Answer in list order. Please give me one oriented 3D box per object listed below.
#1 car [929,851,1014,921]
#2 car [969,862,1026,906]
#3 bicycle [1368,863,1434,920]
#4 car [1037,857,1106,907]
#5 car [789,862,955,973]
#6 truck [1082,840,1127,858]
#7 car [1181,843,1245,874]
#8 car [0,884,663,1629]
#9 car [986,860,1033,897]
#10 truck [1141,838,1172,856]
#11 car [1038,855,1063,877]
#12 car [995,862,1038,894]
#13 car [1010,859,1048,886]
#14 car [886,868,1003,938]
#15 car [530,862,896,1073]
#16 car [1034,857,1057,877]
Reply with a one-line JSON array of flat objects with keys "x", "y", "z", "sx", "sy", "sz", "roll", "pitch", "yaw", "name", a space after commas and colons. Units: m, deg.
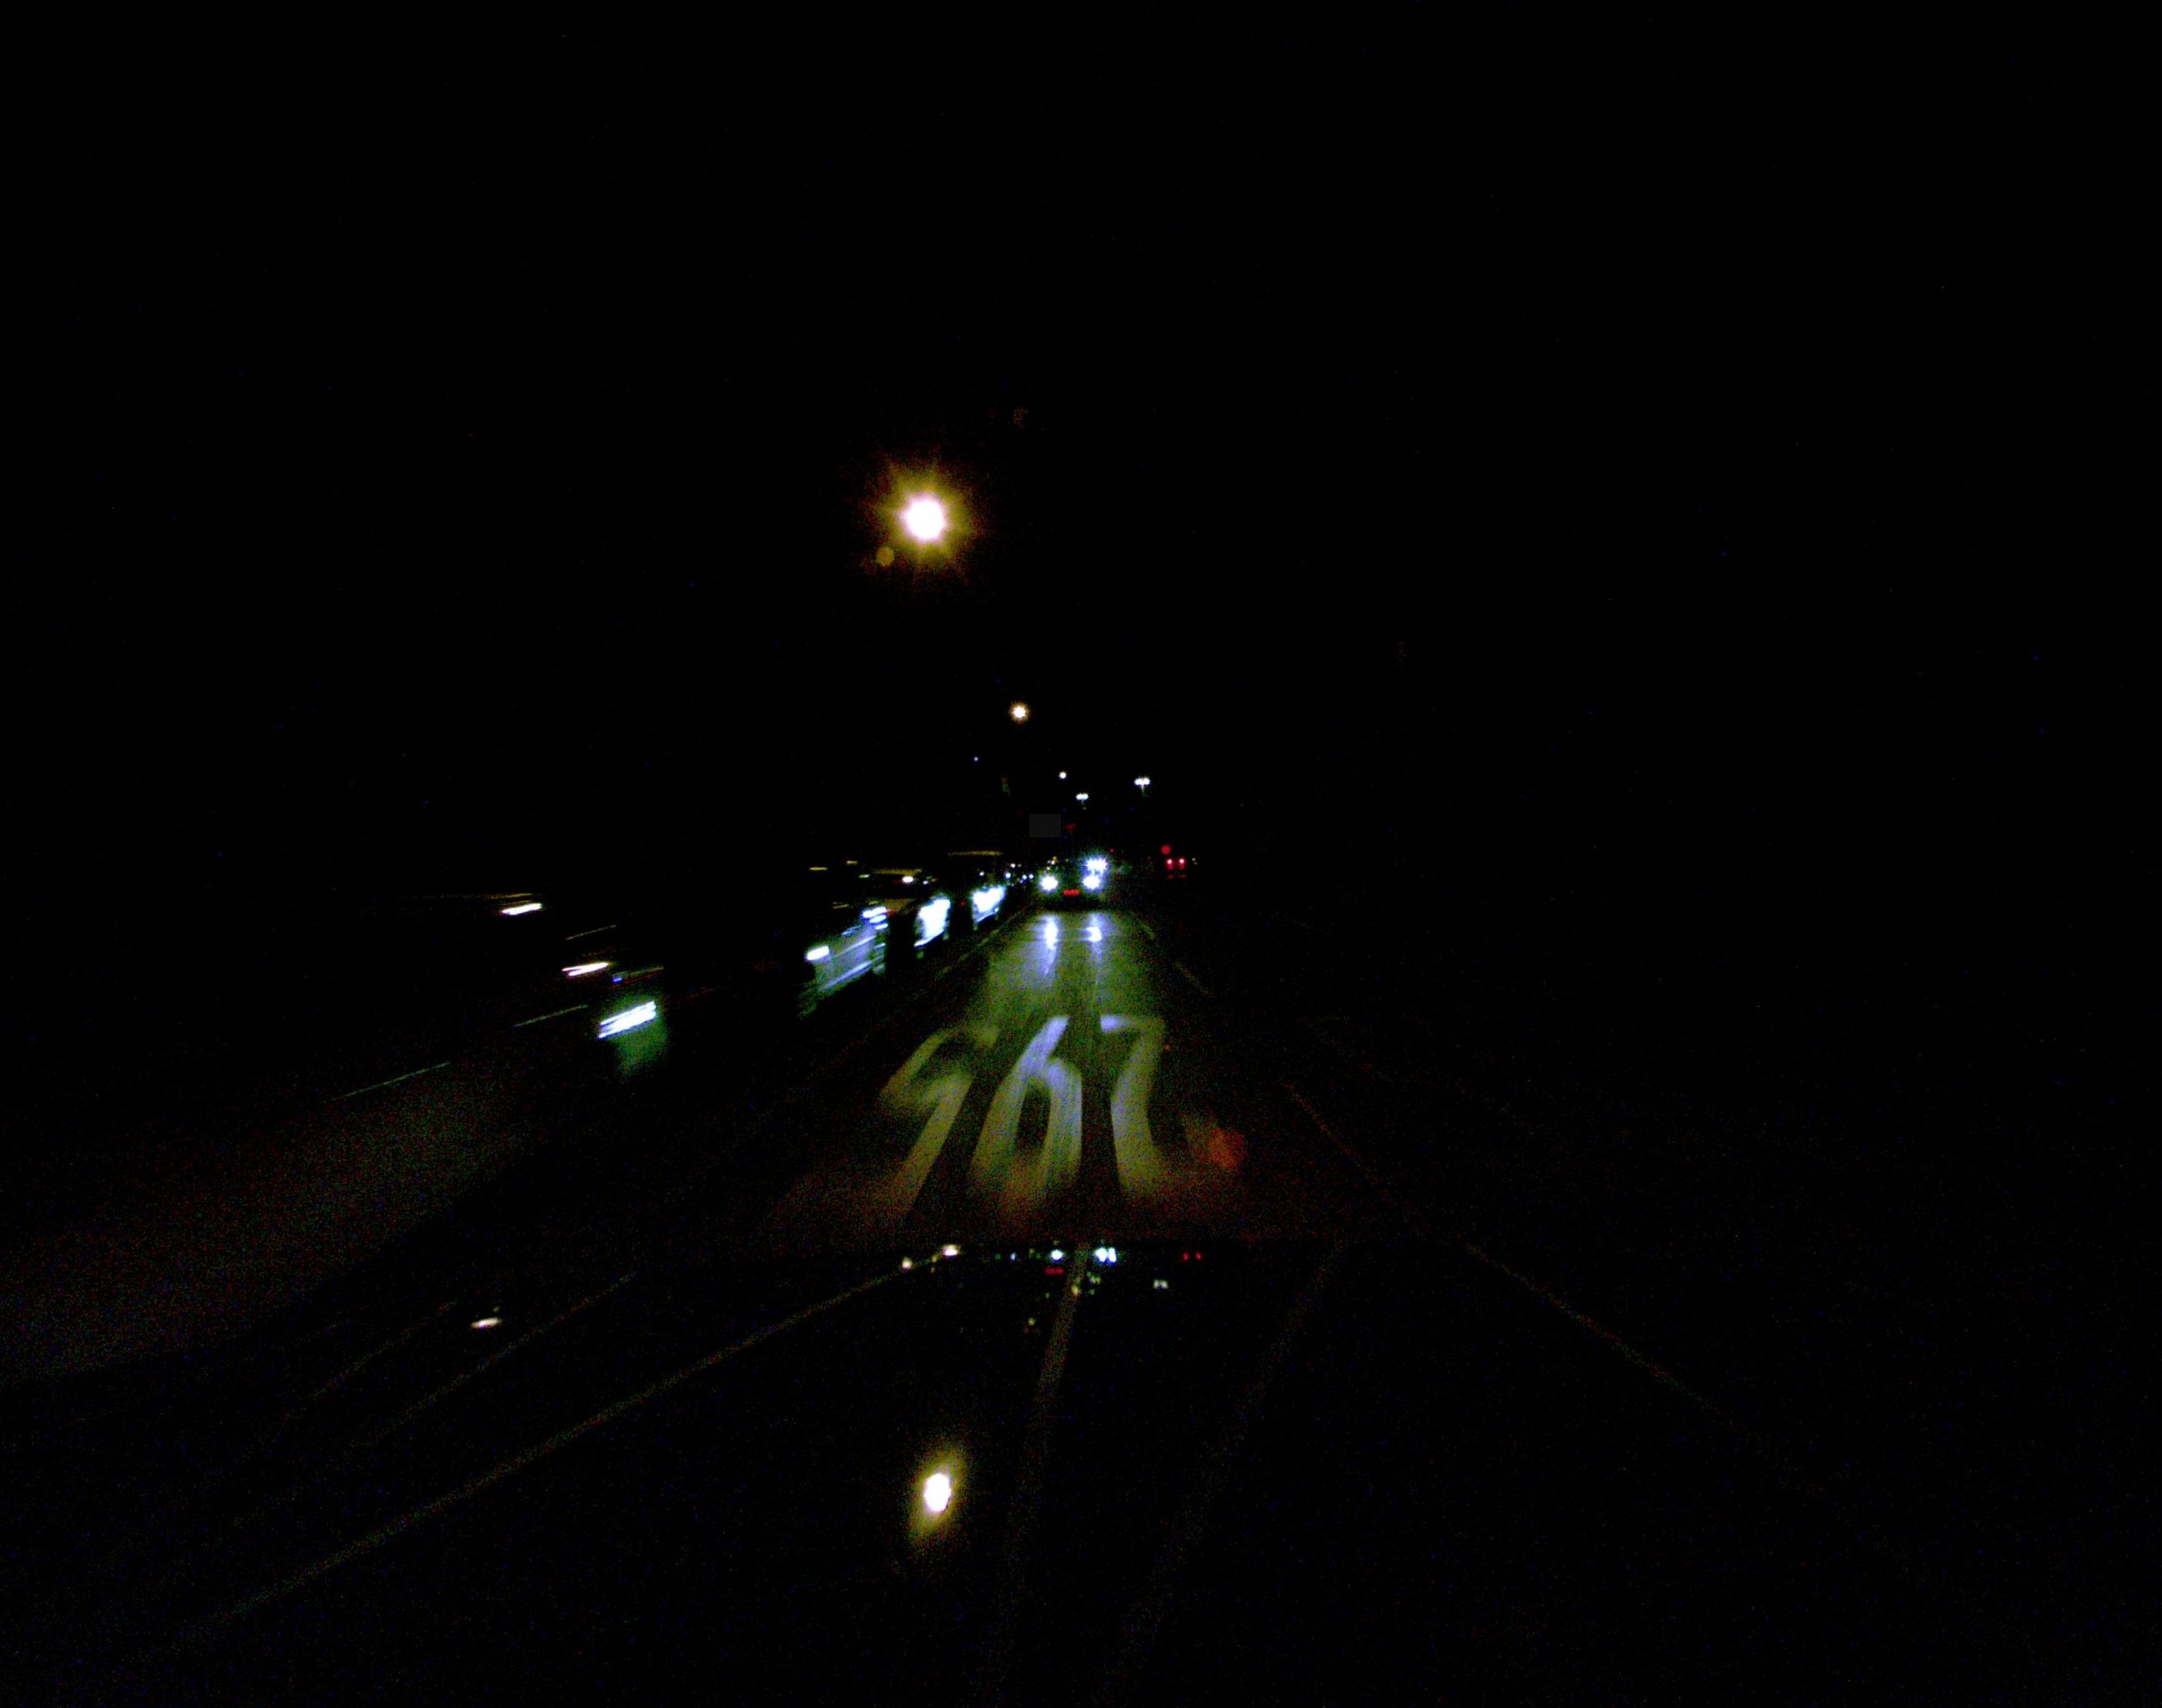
[{"x": -3.161, "y": 0.884, "z": 22.817, "sx": 1.805, "sy": 1.864, "sz": 4.774, "roll": 1, "pitch": 0, "yaw": 1, "name": "car"}, {"x": -3.106, "y": 1.086, "z": 28.964, "sx": 1.599, "sy": 1.458, "sz": 3.891, "roll": -2, "pitch": 0, "yaw": 1, "name": "car"}, {"x": 6.485, "y": 0.740, "z": 15.471, "sx": 0.621, "sy": 1.045, "sz": 1.722, "roll": -2, "pitch": 1, "yaw": 1, "name": "bicycle"}, {"x": -0.248, "y": 0.913, "z": 26.751, "sx": 1.998, "sy": 1.606, "sz": 4.002, "roll": -1, "pitch": 0, "yaw": 5, "name": "car"}, {"x": -3.422, "y": 0.946, "z": 13.357, "sx": 1.828, "sy": 1.579, "sz": 4.627, "roll": 0, "pitch": 0, "yaw": -3, "name": "car"}, {"x": 5.029, "y": -1.079, "z": 162.697, "sx": 9.340, "sy": 3.701, "sz": 2.002, "roll": -1, "pitch": 1, "yaw": 16, "name": "truck"}, {"x": 8.739, "y": 0.278, "z": 50.235, "sx": 3.993, "sy": 1.878, "sz": 1.911, "roll": -2, "pitch": 1, "yaw": 13, "name": "car"}, {"x": -3.349, "y": 0.984, "z": 2.287, "sx": 1.779, "sy": 1.535, "sz": 4.545, "roll": -2, "pitch": 0, "yaw": -2, "name": "car"}, {"x": -3.115, "y": 1.054, "z": 33.632, "sx": 1.599, "sy": 1.458, "sz": 3.719, "roll": -2, "pitch": 0, "yaw": 1, "name": "car"}, {"x": 15.986, "y": -1.504, "z": 160.286, "sx": 6.196, "sy": 3.672, "sz": 2.403, "roll": -2, "pitch": 1, "yaw": 13, "name": "truck"}, {"x": -2.769, "y": 1.044, "z": 69.760, "sx": 2.077, "sy": 1.917, "sz": 5.370, "roll": 0, "pitch": 0, "yaw": 0, "name": "car"}, {"x": -3.200, "y": 1.154, "z": 38.406, "sx": 1.783, "sy": 1.418, "sz": 3.891, "roll": -2, "pitch": 0, "yaw": 0, "name": "car"}, {"x": -3.017, "y": 1.089, "z": 45.194, "sx": 1.783, "sy": 1.418, "sz": 4.481, "roll": -2, "pitch": 0, "yaw": 1, "name": "car"}, {"x": -3.086, "y": 1.068, "z": 18.027, "sx": 1.820, "sy": 1.419, "sz": 4.190, "roll": 0, "pitch": 0, "yaw": 3, "name": "car"}, {"x": -3.394, "y": 0.902, "z": 8.128, "sx": 1.828, "sy": 1.613, "sz": 4.457, "roll": 0, "pitch": 0, "yaw": -2, "name": "car"}, {"x": -2.945, "y": 1.080, "z": 64.130, "sx": 1.824, "sy": 1.589, "sz": 4.219, "roll": 1, "pitch": 0, "yaw": -2, "name": "car"}]
